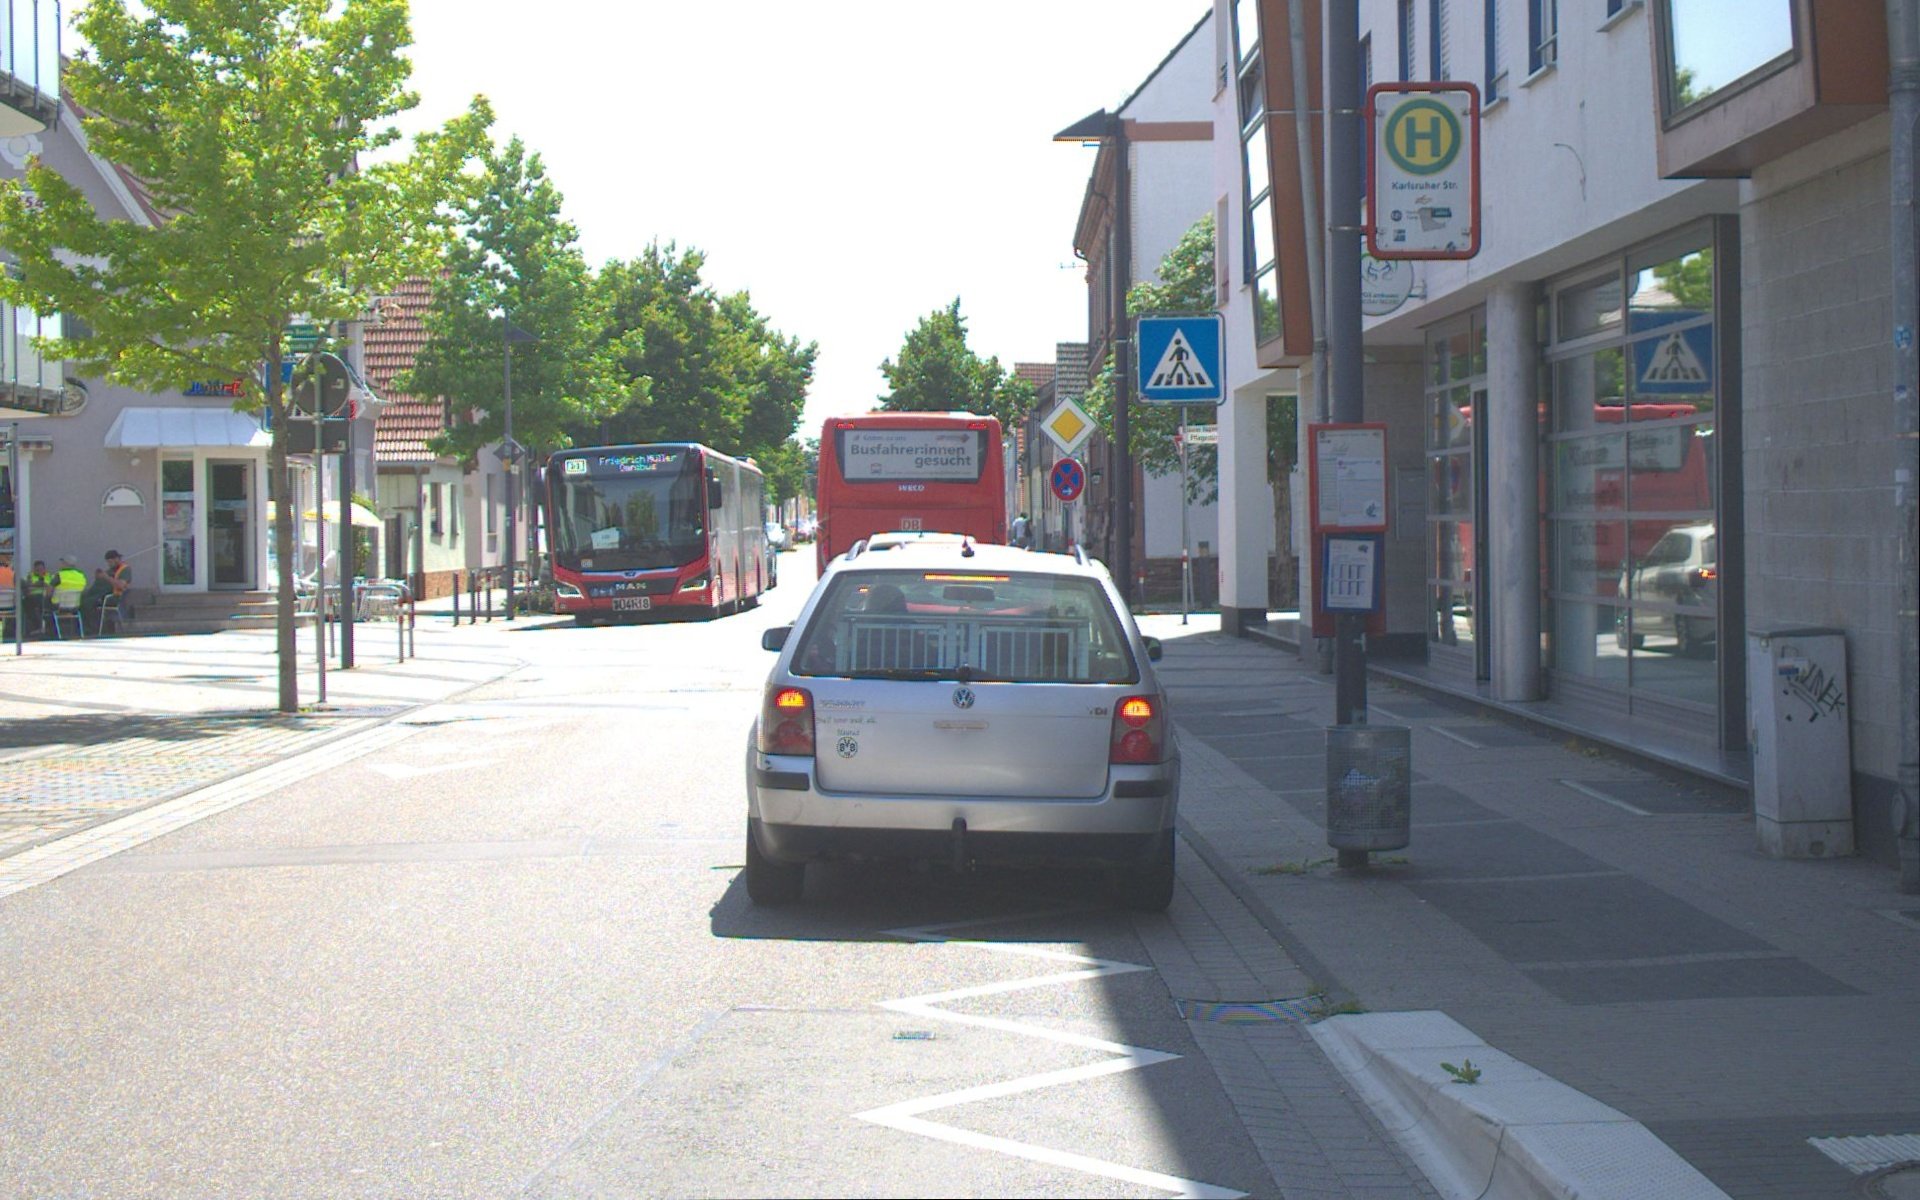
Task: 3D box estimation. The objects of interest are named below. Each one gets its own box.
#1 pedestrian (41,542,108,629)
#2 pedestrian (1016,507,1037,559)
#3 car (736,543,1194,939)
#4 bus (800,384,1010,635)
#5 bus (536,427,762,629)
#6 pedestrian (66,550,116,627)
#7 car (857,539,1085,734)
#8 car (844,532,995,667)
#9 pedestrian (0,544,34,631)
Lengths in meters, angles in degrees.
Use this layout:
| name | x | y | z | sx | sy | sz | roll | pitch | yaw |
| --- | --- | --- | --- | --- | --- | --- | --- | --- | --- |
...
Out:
| name | x | y | z | sx | sy | sz | roll | pitch | yaw |
| --- | --- | --- | --- | --- | --- | --- | --- | --- | --- |
| pedestrian | -13.347 | -0.215 | 51.839 | 0.634 | 1.284 | 0.789 | 1 | 1 | -44 |
| pedestrian | 2.108 | -2.131 | 109.599 | 0.606 | 1.661 | 0.789 | -1 | 1 | -2 |
| car | -0.015 | 0.500 | 14.718 | 1.677 | 1.425 | 3.680 | 2 | 1 | -1 |
| bus | -0.989 | -1.292 | 51.430 | 2.740 | 3.287 | 12.707 | 0 | 1 | -2 |
| bus | -5.490 | -1.344 | 63.958 | 2.668 | 3.113 | 17.808 | -2 | 1 | -1 |
| pedestrian | -13.377 | -0.177 | 52.916 | 0.622 | 1.175 | 0.697 | -1 | 1 | -5 |
| car | 0.047 | 0.239 | 27.304 | 1.677 | 1.425 | 3.680 | 0 | 1 | -1 |
| car | -0.434 | -0.041 | 38.605 | 1.593 | 1.425 | 3.680 | 1 | 1 | 0 |
| pedestrian | -14.477 | -0.193 | 51.903 | 0.634 | 1.284 | 0.789 | 1 | 1 | -44 |
